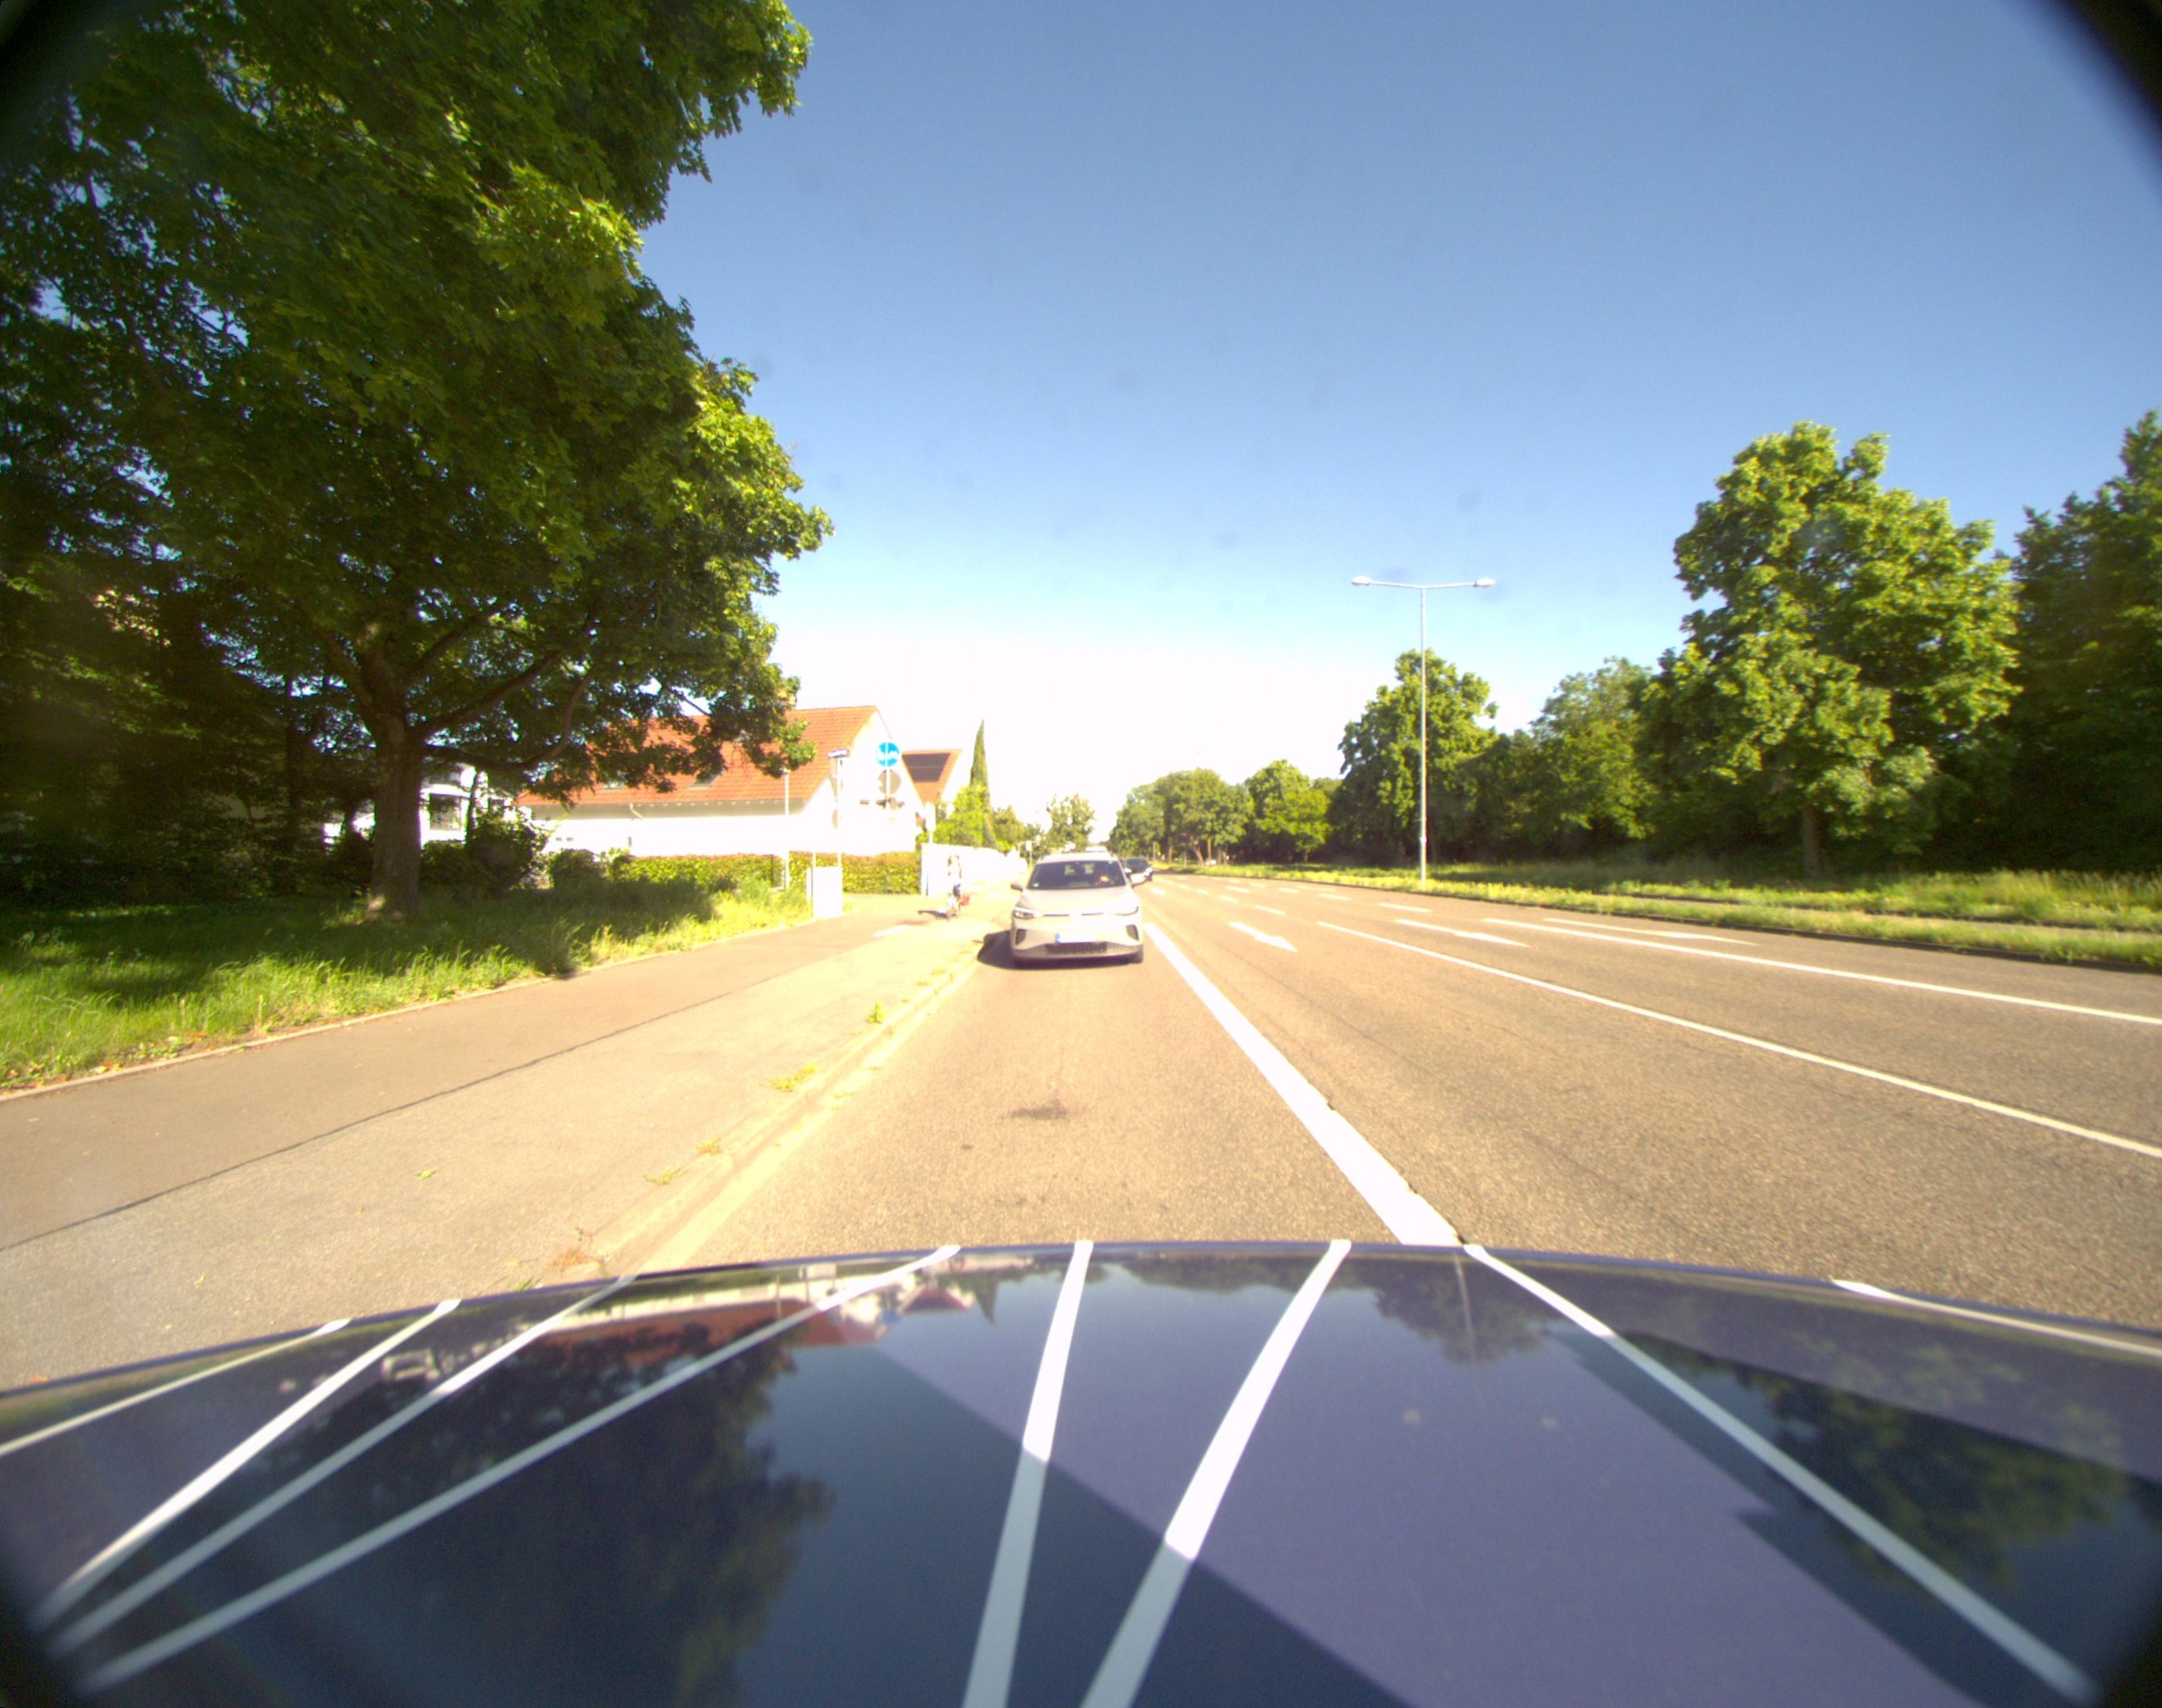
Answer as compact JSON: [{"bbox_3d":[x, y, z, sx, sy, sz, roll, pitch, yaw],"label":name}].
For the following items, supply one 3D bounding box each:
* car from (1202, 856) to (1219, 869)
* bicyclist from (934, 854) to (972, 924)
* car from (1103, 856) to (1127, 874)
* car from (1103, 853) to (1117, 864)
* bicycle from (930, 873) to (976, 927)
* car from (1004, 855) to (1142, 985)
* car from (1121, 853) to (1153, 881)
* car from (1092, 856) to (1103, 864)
[{"bbox_3d":[19.827,1.269,116.426,1.917,1.693,4.407,-2,1,1],"label":"car"},{"bbox_3d":[-3.065,0.820,18.285,0.631,1.623,0.982,3,0,3],"label":"bicyclist"},{"bbox_3d":[3.286,1.049,73.730,1.856,1.576,3.998,-2,1,-3],"label":"car"},{"bbox_3d":[4.577,0.663,119.443,1.856,1.576,3.998,-2,1,-3],"label":"car"},{"bbox_3d":[-3.046,1.066,18.263,0.575,1.148,2.141,3,0,3],"label":"bicycle"},{"bbox_3d":[-0.085,0.884,12.247,1.766,1.606,4.297,-3,1,1],"label":"car"},{"bbox_3d":[3.557,0.814,48.679,1.766,1.606,4.297,-2,1,1],"label":"car"},{"bbox_3d":[3.242,1.158,151.145,1.856,1.576,3.998,-2,1,-3],"label":"car"}]
